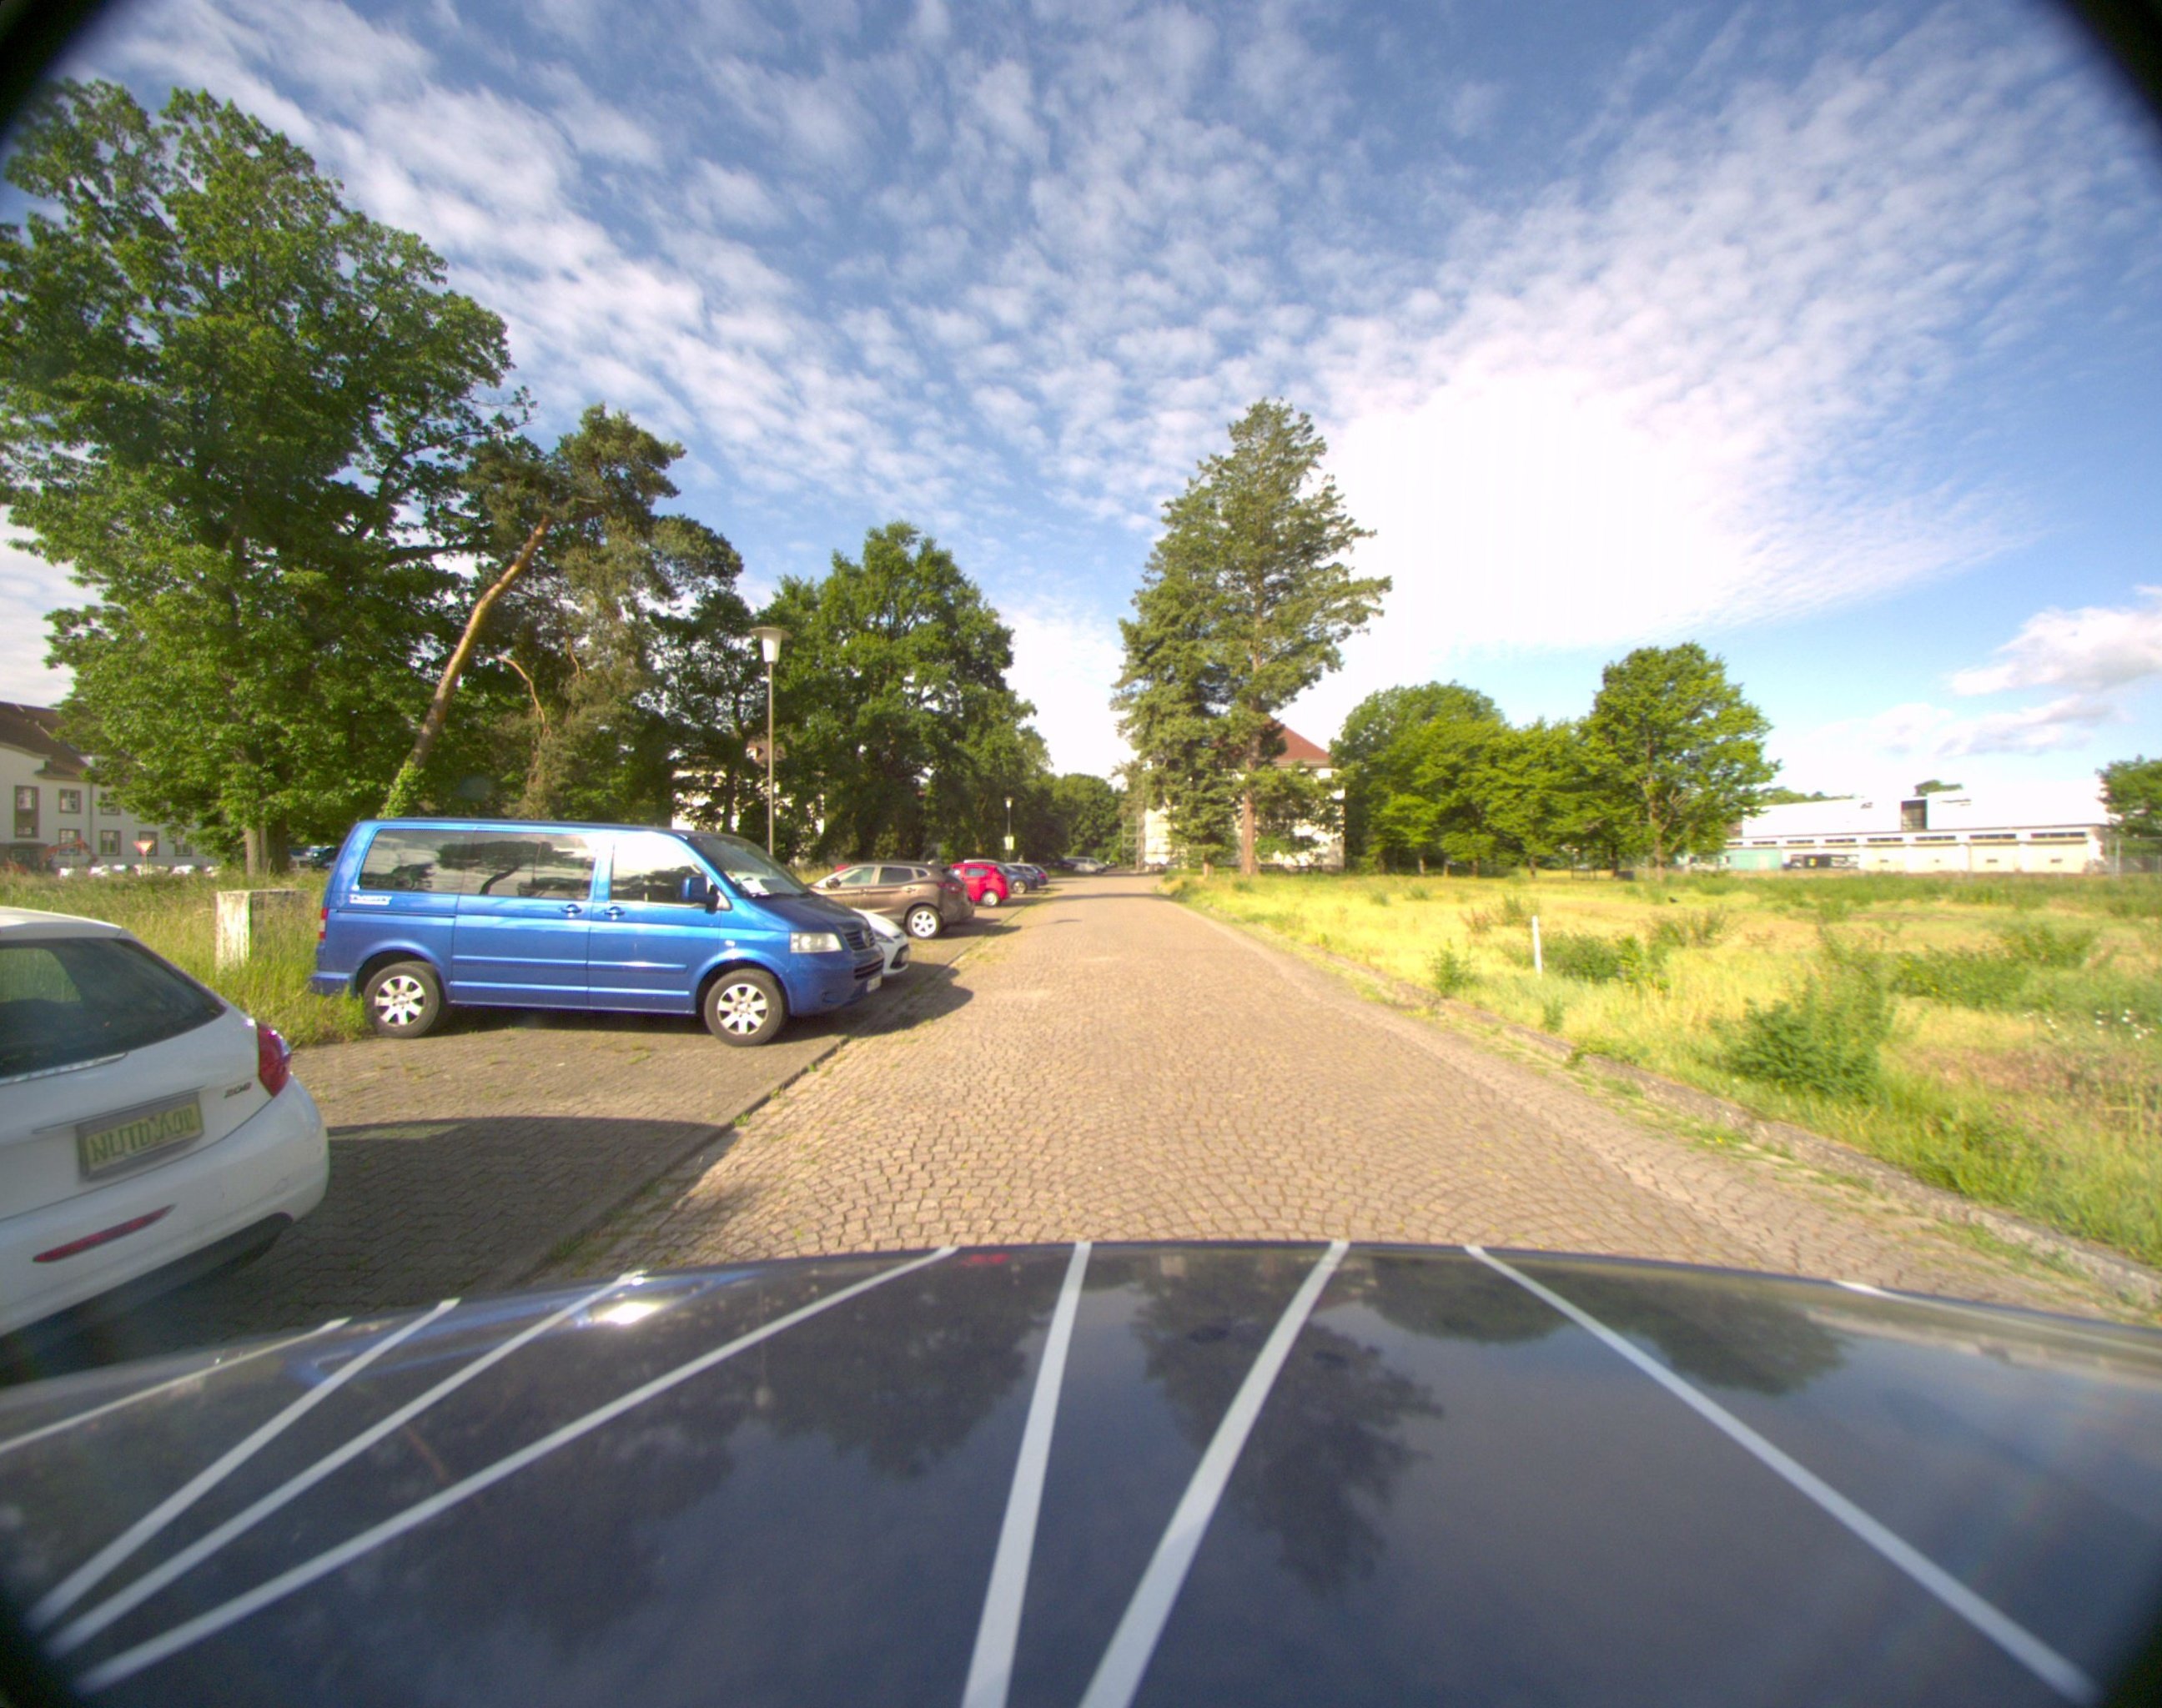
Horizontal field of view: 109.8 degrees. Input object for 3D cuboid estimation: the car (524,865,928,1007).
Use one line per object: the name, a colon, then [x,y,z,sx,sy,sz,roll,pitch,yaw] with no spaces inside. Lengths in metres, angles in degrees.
car: [-4.443,0.994,10.047,4.408,1.568,1.939,1,0,1]

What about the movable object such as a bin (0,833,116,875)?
movable object such as a bin: [-88.208,-0.012,64.986,6.461,3.281,2.859,-3,1,-42]

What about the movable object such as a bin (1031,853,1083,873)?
movable object such as a bin: [-2.416,0.913,77.383,4.865,2.002,2.002,-1,0,14]

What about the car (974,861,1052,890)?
car: [-3.677,1.171,41.579,4.097,1.414,1.785,2,0,-1]

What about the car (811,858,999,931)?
car: [-4.278,0.969,18.996,4.237,1.588,1.934,2,1,-2]

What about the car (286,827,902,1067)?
car: [-4.368,0.783,7.426,4.710,1.924,2.000,1,0,1]

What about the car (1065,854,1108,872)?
car: [0.653,1.050,90.300,4.933,2.002,1.999,1,0,-5]

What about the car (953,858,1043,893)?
car: [-3.970,1.031,36.895,4.097,1.548,1.853,2,0,-1]

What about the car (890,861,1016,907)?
car: [-4.413,1.041,26.652,4.097,1.451,1.853,2,0,-1]

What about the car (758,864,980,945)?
car: [-4.394,1.038,16.272,4.237,1.588,1.934,0,1,-2]

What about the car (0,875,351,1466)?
car: [-4.718,0.824,2.095,3.716,1.525,1.761,1,0,1]

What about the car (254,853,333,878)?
car: [-67.093,0.925,64.834,1.906,1.928,4.395,-2,1,2]
